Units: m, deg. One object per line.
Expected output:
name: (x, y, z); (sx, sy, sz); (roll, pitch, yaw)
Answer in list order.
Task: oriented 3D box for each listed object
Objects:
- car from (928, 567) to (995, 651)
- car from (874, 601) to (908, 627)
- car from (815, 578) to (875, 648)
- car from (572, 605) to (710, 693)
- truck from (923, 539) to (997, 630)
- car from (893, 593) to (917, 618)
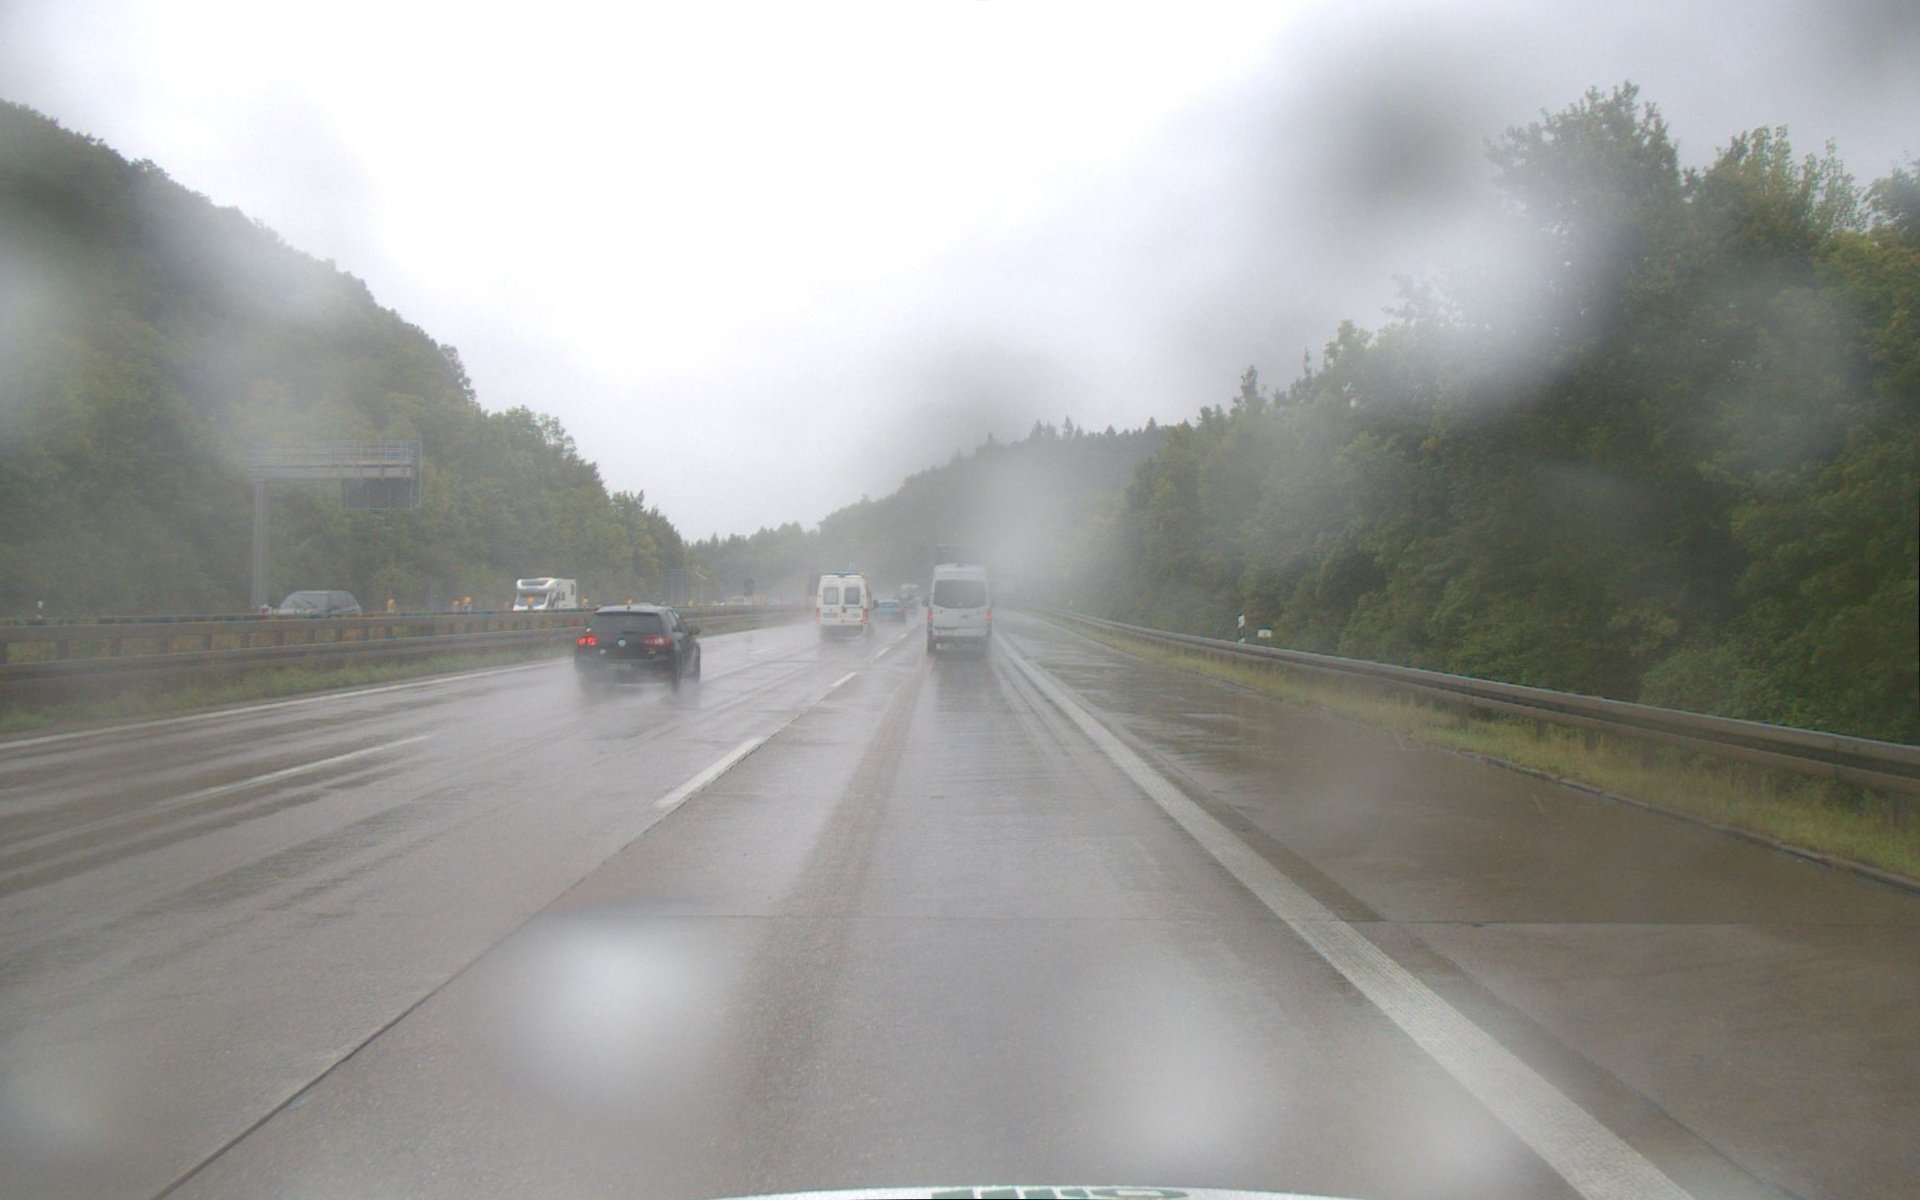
car: (-0.005, 0.255, 51.084); (1.861, 2.374, 5.249); (2, 0, -2)
car: (-3.925, 0.777, 93.632); (1.819, 1.362, 4.348); (2, 0, -4)
car: (-4.368, 0.477, 63.547); (1.957, 2.474, 5.788); (2, 0, -2)
car: (-5.461, 0.800, 28.810); (1.705, 1.412, 4.319); (0, 0, -2)
truck: (-0.068, -0.855, 79.948); (3.316, 4.037, 8.666); (-1, 2, -1)
car: (-4.366, 0.418, 131.787); (1.831, 1.841, 4.187); (2, 0, -2)
